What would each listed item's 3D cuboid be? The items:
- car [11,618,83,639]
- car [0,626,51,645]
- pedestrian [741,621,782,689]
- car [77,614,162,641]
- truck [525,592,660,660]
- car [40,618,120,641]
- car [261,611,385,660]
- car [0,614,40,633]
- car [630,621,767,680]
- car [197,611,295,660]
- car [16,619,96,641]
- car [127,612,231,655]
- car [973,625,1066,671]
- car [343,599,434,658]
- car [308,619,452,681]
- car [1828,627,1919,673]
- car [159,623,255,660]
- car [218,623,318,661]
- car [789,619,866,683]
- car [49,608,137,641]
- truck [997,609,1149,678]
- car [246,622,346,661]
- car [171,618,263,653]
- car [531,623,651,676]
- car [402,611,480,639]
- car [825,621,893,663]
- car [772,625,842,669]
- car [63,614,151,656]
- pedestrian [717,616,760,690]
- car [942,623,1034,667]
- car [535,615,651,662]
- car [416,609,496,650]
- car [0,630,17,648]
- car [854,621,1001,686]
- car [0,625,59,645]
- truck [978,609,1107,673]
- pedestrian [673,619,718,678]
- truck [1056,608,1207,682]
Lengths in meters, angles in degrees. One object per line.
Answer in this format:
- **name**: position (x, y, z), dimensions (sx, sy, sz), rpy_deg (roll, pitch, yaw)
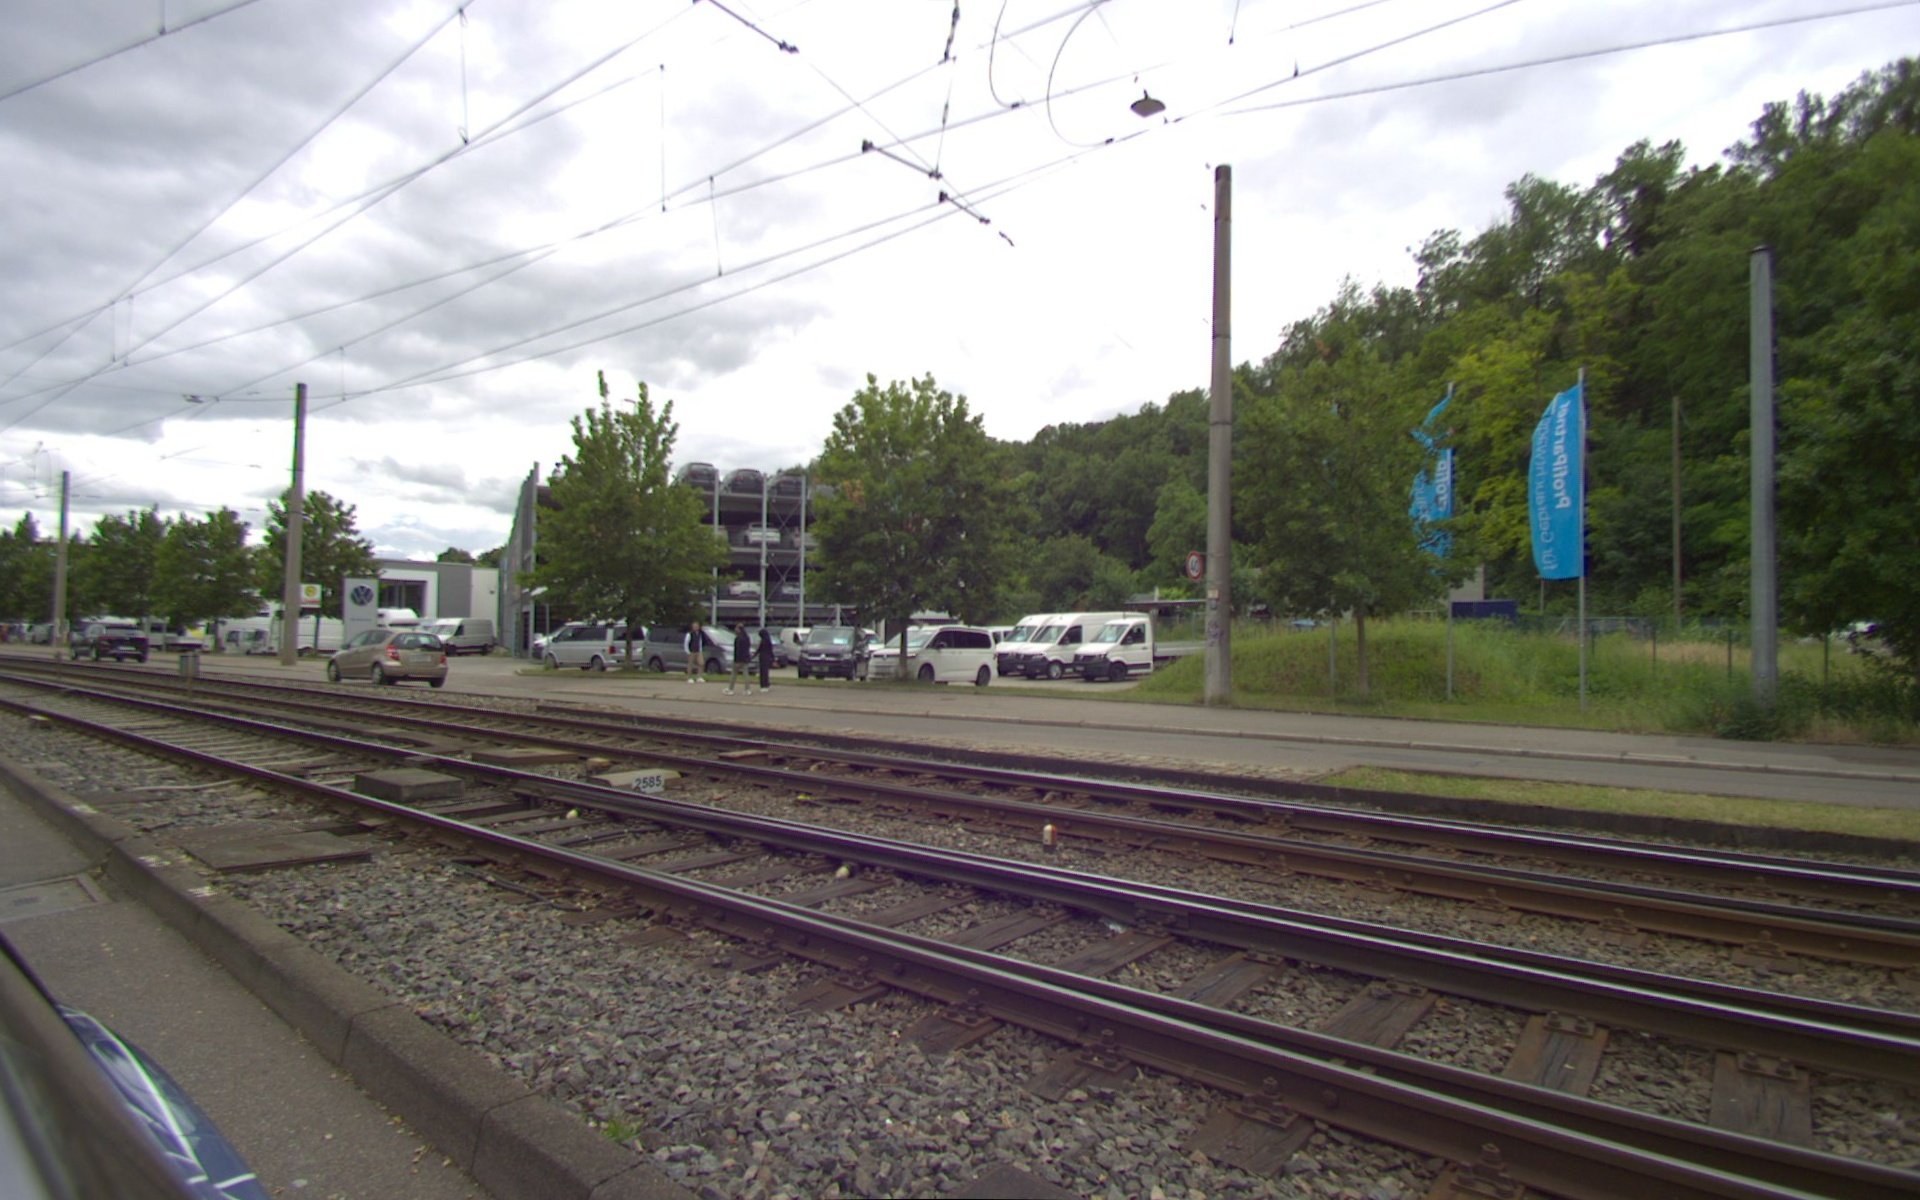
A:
- **car**: position (-73.116, 2.289, 81.095), dimensions (1.996, 1.630, 3.951), rpy_deg (-2, -3, 36)
- **car**: position (-80.111, 3.030, 85.956), dimensions (1.996, 1.630, 3.951), rpy_deg (-2, -3, 36)
- **pedestrian**: position (-5.125, 1.406, 26.090), dimensions (0.854, 1.726, 0.622), rpy_deg (-2, -2, 38)
- **car**: position (-60.661, 2.012, 73.093), dimensions (2.000, 1.859, 4.327), rpy_deg (-2, -3, 35)
- **truck**: position (-17.562, 1.293, 48.481), dimensions (5.835, 3.108, 2.126), rpy_deg (1, -3, -26)
- **car**: position (-68.645, 2.333, 78.975), dimensions (2.000, 1.699, 4.327), rpy_deg (-2, -3, 35)
- **car**: position (-35.724, 1.994, 56.916), dimensions (2.241, 2.622, 5.426), rpy_deg (-2, -3, 34)
- **car**: position (-83.584, 2.064, 88.580), dimensions (2.059, 1.630, 4.140), rpy_deg (-2, -3, 36)
- **car**: position (-9.660, 1.844, 37.238), dimensions (5.115, 2.029, 1.977), rpy_deg (-1, -3, 34)
- **car**: position (-42.551, 2.138, 60.400), dimensions (1.997, 2.841, 4.334), rpy_deg (-1, -3, 31)
- **car**: position (-71.135, 2.375, 79.695), dimensions (1.998, 1.630, 4.331), rpy_deg (-1, -3, 33)
- **car**: position (-51.113, 2.192, 66.370), dimensions (2.107, 2.719, 4.929), rpy_deg (-1, -3, 31)
- **car**: position (2.728, 2.176, 46.239), dimensions (3.935, 2.029, 2.004), rpy_deg (2, -3, -38)
- **car**: position (-31.116, 1.597, 55.003), dimensions (5.926, 3.042, 2.088), rpy_deg (-2, -3, 37)
- **car**: position (-16.201, 1.401, 28.198), dimensions (4.248, 1.544, 1.873), rpy_deg (-2, -6, 37)
- **car**: position (35.173, 1.839, 37.542), dimensions (1.965, 1.674, 4.012), rpy_deg (1, -2, -19)
- **car**: position (-46.858, 2.570, 63.076), dimensions (1.997, 2.189, 4.334), rpy_deg (-1, -3, 31)
- **car**: position (-40.356, 2.455, 59.115), dimensions (1.997, 2.121, 4.334), rpy_deg (-1, -3, 31)
- **car**: position (-4.455, 1.737, 34.828), dimensions (2.135, 2.029, 5.074), rpy_deg (0, -3, -2)
- **car**: position (-63.053, 1.804, 73.649), dimensions (2.121, 2.329, 4.456), rpy_deg (-2, -3, 35)
- **truck**: position (4.538, 1.706, 40.407), dimensions (5.679, 2.608, 2.476), rpy_deg (1, -3, -30)
- **car**: position (-37.947, 2.369, 57.902), dimensions (1.997, 2.121, 4.334), rpy_deg (-1, -3, 31)
- **car**: position (-48.209, 2.342, 65.756), dimensions (1.997, 2.189, 4.334), rpy_deg (-1, -3, 31)
- **car**: position (-14.855, 1.971, 40.682), dimensions (4.904, 2.029, 1.977), rpy_deg (-1, -3, 33)
- **car**: position (-38.753, 1.902, 75.709), dimensions (1.996, 2.029, 4.799), rpy_deg (-1, -3, 36)
- **car**: position (-5.106, 2.103, 50.617), dimensions (1.965, 2.028, 4.482), rpy_deg (1, -3, -25)
- **car**: position (-7.511, 2.303, 49.392), dimensions (1.965, 2.028, 4.481), rpy_deg (2, -3, -29)
- **car**: position (-35.100, 1.451, 41.623), dimensions (4.246, 1.544, 1.672), rpy_deg (-1, -6, 35)
- **pedestrian**: position (-5.569, 1.325, 25.452), dimensions (0.854, 1.827, 0.670), rpy_deg (-2, -2, 38)
- **car**: position (1.379, 2.180, 49.010), dimensions (4.197, 2.029, 1.985), rpy_deg (2, -3, -38)
- **car**: position (-16.505, 1.735, 45.594), dimensions (4.649, 2.029, 2.006), rpy_deg (2, -3, -28)
- **car**: position (-33.931, 2.010, 68.334), dimensions (1.979, 2.622, 5.943), rpy_deg (0, -2, 5)
- **car**: position (-88.630, 3.501, 91.697), dimensions (2.150, 1.630, 4.297), rpy_deg (-2, -3, 36)
- **car**: position (-0.917, 1.647, 32.038), dimensions (2.161, 1.902, 5.013), rpy_deg (-2, -3, 34)
- **car**: position (-78.044, 2.921, 84.426), dimensions (1.996, 1.630, 3.951), rpy_deg (-2, -3, 36)
- **truck**: position (3.532, 1.768, 43.341), dimensions (4.985, 2.608, 2.476), rpy_deg (2, -3, -30)
- **pedestrian**: position (-7.660, 1.389, 29.314), dimensions (1.037, 1.668, 0.713), rpy_deg (-2, -1, 28)
- **truck**: position (6.391, 1.690, 37.757), dimensions (4.984, 2.608, 2.476), rpy_deg (1, -3, -24)
